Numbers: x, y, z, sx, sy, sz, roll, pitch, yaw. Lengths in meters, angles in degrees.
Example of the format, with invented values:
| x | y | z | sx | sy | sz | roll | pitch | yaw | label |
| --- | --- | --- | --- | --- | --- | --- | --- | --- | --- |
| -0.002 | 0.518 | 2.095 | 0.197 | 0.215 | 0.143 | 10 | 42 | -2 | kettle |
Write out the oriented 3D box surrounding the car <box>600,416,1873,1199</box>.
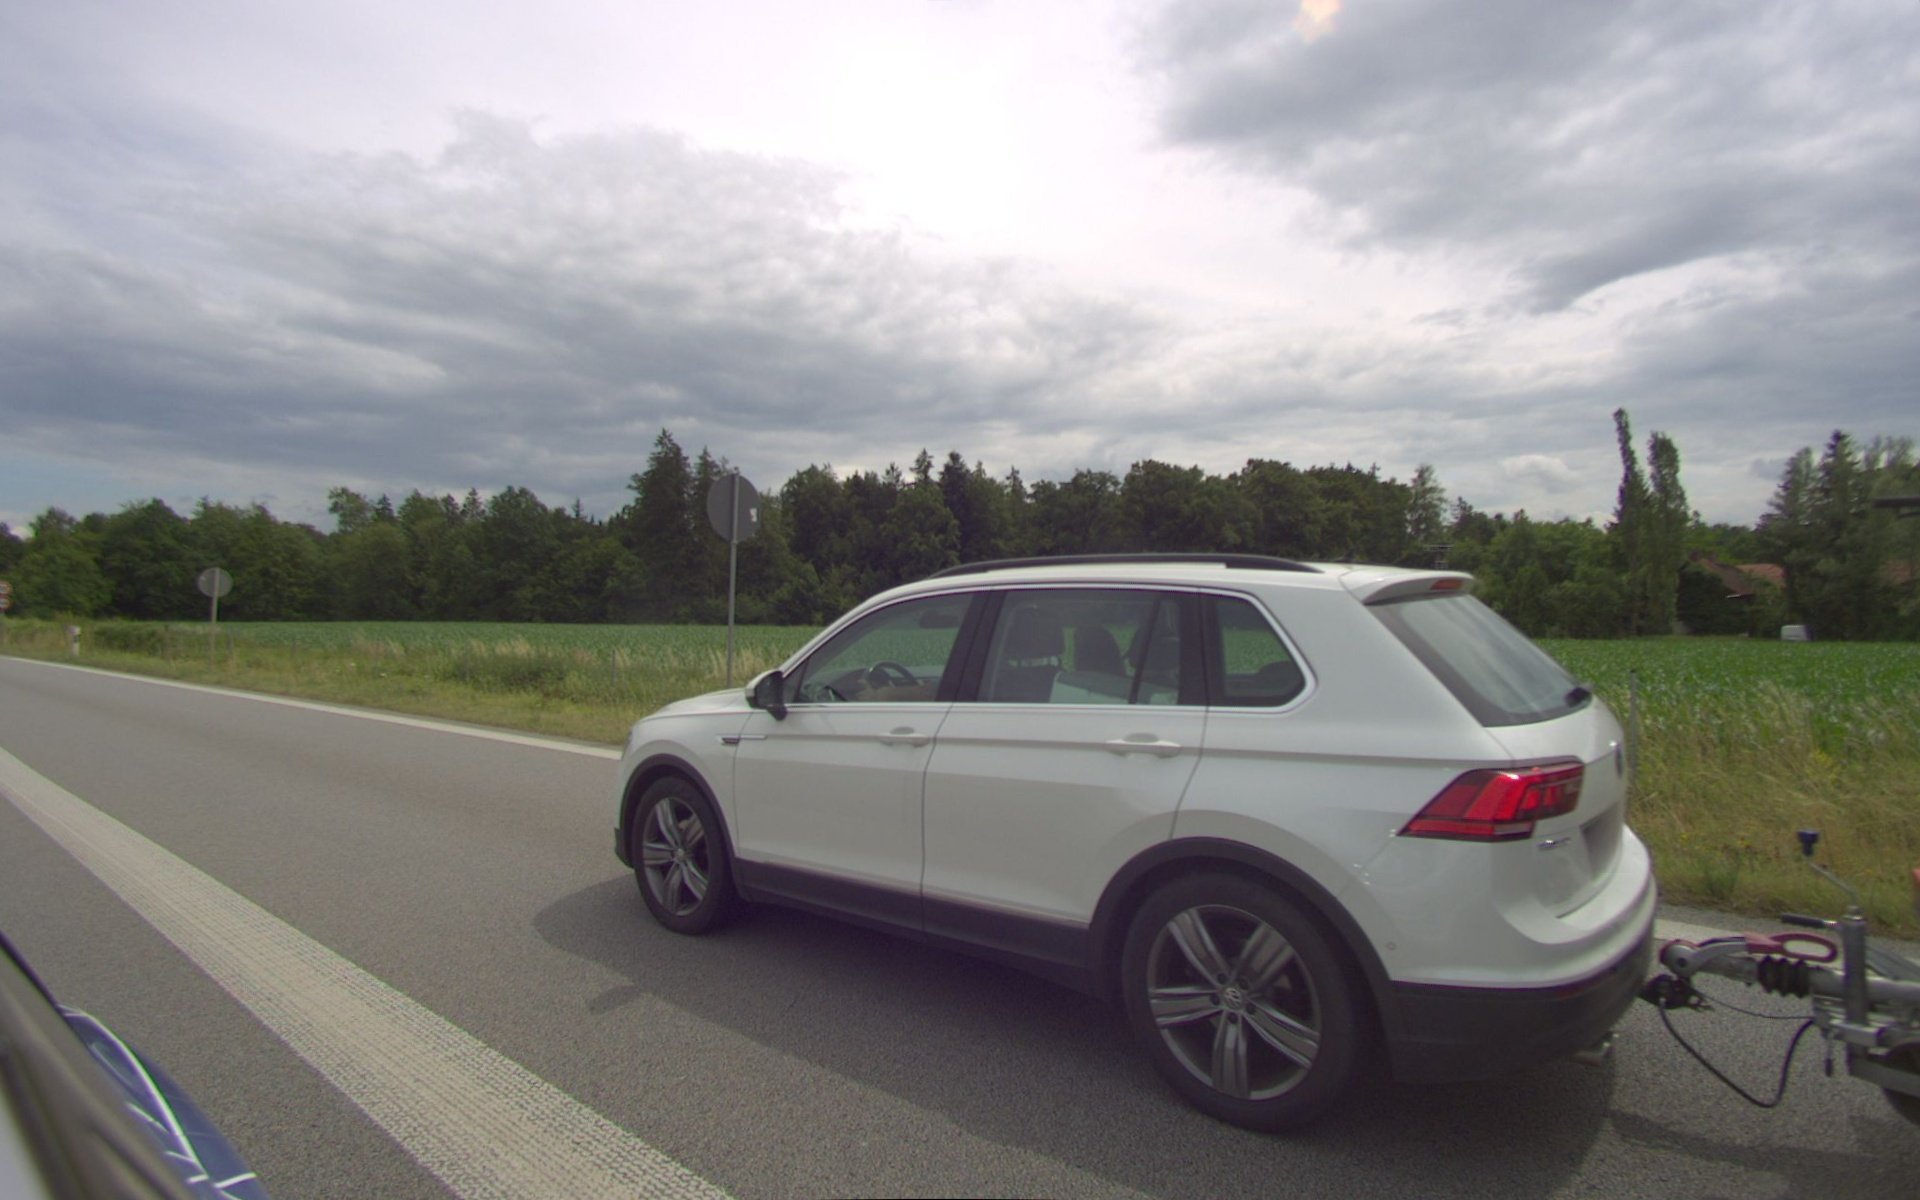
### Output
| x | y | z | sx | sy | sz | roll | pitch | yaw | label |
| --- | --- | --- | --- | --- | --- | --- | --- | --- | --- |
| 0.632 | 0.506 | 3.986 | 4.325 | 1.670 | 1.985 | -1 | 1 | 41 | car |
